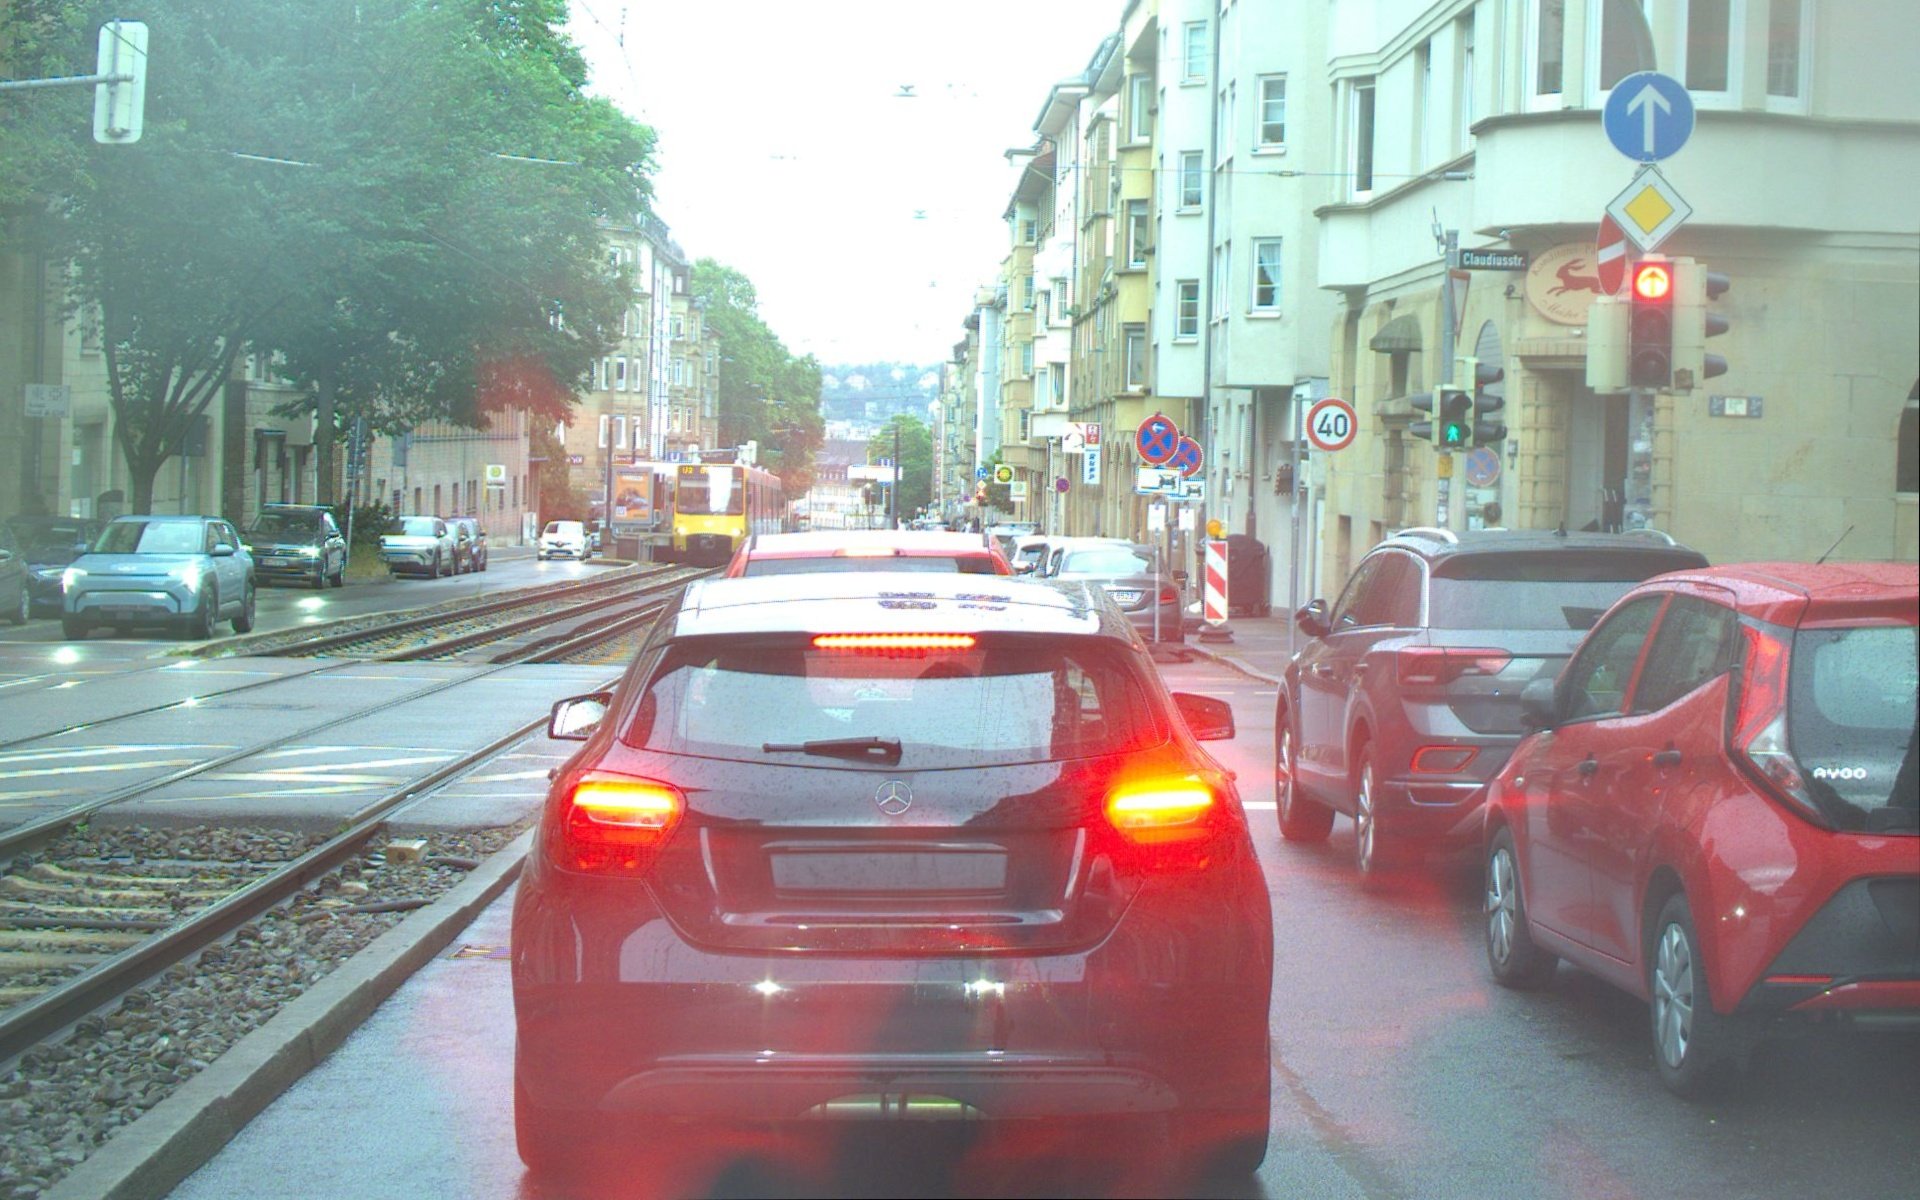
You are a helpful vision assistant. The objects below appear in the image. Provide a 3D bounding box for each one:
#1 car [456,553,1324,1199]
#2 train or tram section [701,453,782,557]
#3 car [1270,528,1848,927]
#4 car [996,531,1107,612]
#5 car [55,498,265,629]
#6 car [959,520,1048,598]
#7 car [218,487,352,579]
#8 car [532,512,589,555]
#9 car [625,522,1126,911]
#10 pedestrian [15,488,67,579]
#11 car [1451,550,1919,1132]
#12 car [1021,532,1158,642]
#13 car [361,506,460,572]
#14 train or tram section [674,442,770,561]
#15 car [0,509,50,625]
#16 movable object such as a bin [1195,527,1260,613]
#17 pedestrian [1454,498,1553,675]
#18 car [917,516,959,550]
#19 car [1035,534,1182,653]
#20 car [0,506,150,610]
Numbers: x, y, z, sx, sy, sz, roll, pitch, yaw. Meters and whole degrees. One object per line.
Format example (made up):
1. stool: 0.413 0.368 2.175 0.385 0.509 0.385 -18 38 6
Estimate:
1. car: -0.173 0.620 9.318 1.834 1.448 3.902 1 1 -1
2. train or tram section: -8.965 -3.900 142.347 2.745 4.048 15.663 1 1 -2
3. car: 2.584 0.477 15.788 1.867 1.543 3.991 2 1 -1
4. car: 1.610 -0.516 61.909 1.789 1.381 4.395 1 1 -1
5. car: -10.388 -0.477 44.940 1.921 1.612 4.129 1 1 -2
6. car: 0.965 -0.884 74.488 1.841 1.602 4.760 1 1 1
7. car: -14.122 -1.433 72.153 1.953 1.736 4.780 4 1 -2
8. car: -14.725 -2.441 126.744 1.780 1.497 4.063 1 1 -2
9. car: -0.369 0.438 16.134 1.993 1.520 4.246 2 1 -1
10. pedestrian: -17.023 -1.235 63.682 0.728 1.657 0.771 2 1 -1
11. car: 2.718 0.608 10.516 1.705 1.448 3.533 2 1 -3
12. car: 1.802 -0.201 48.992 1.712 1.463 4.774 1 1 -1
13. car: -14.262 -1.600 89.462 1.961 1.600 4.329 2 2 -2
14. train or tram section: -8.617 -3.584 126.090 2.745 4.048 17.216 1 1 -2
15. car: -13.420 -0.450 45.697 1.689 1.524 4.176 1 1 -2
16. movable object such as a bin: 4.641 -0.526 59.770 0.980 1.463 1.273 1 0 -1
17. pedestrian: 5.261 -0.135 33.300 0.804 1.681 0.754 1 0 -1
18. car: -1.033 -3.191 163.525 1.887 1.520 4.245 2 1 1
19. car: 1.837 -0.104 43.625 1.711 1.405 4.817 1 1 1
20. car: -13.465 -0.624 51.251 1.780 1.455 4.979 1 1 -2
